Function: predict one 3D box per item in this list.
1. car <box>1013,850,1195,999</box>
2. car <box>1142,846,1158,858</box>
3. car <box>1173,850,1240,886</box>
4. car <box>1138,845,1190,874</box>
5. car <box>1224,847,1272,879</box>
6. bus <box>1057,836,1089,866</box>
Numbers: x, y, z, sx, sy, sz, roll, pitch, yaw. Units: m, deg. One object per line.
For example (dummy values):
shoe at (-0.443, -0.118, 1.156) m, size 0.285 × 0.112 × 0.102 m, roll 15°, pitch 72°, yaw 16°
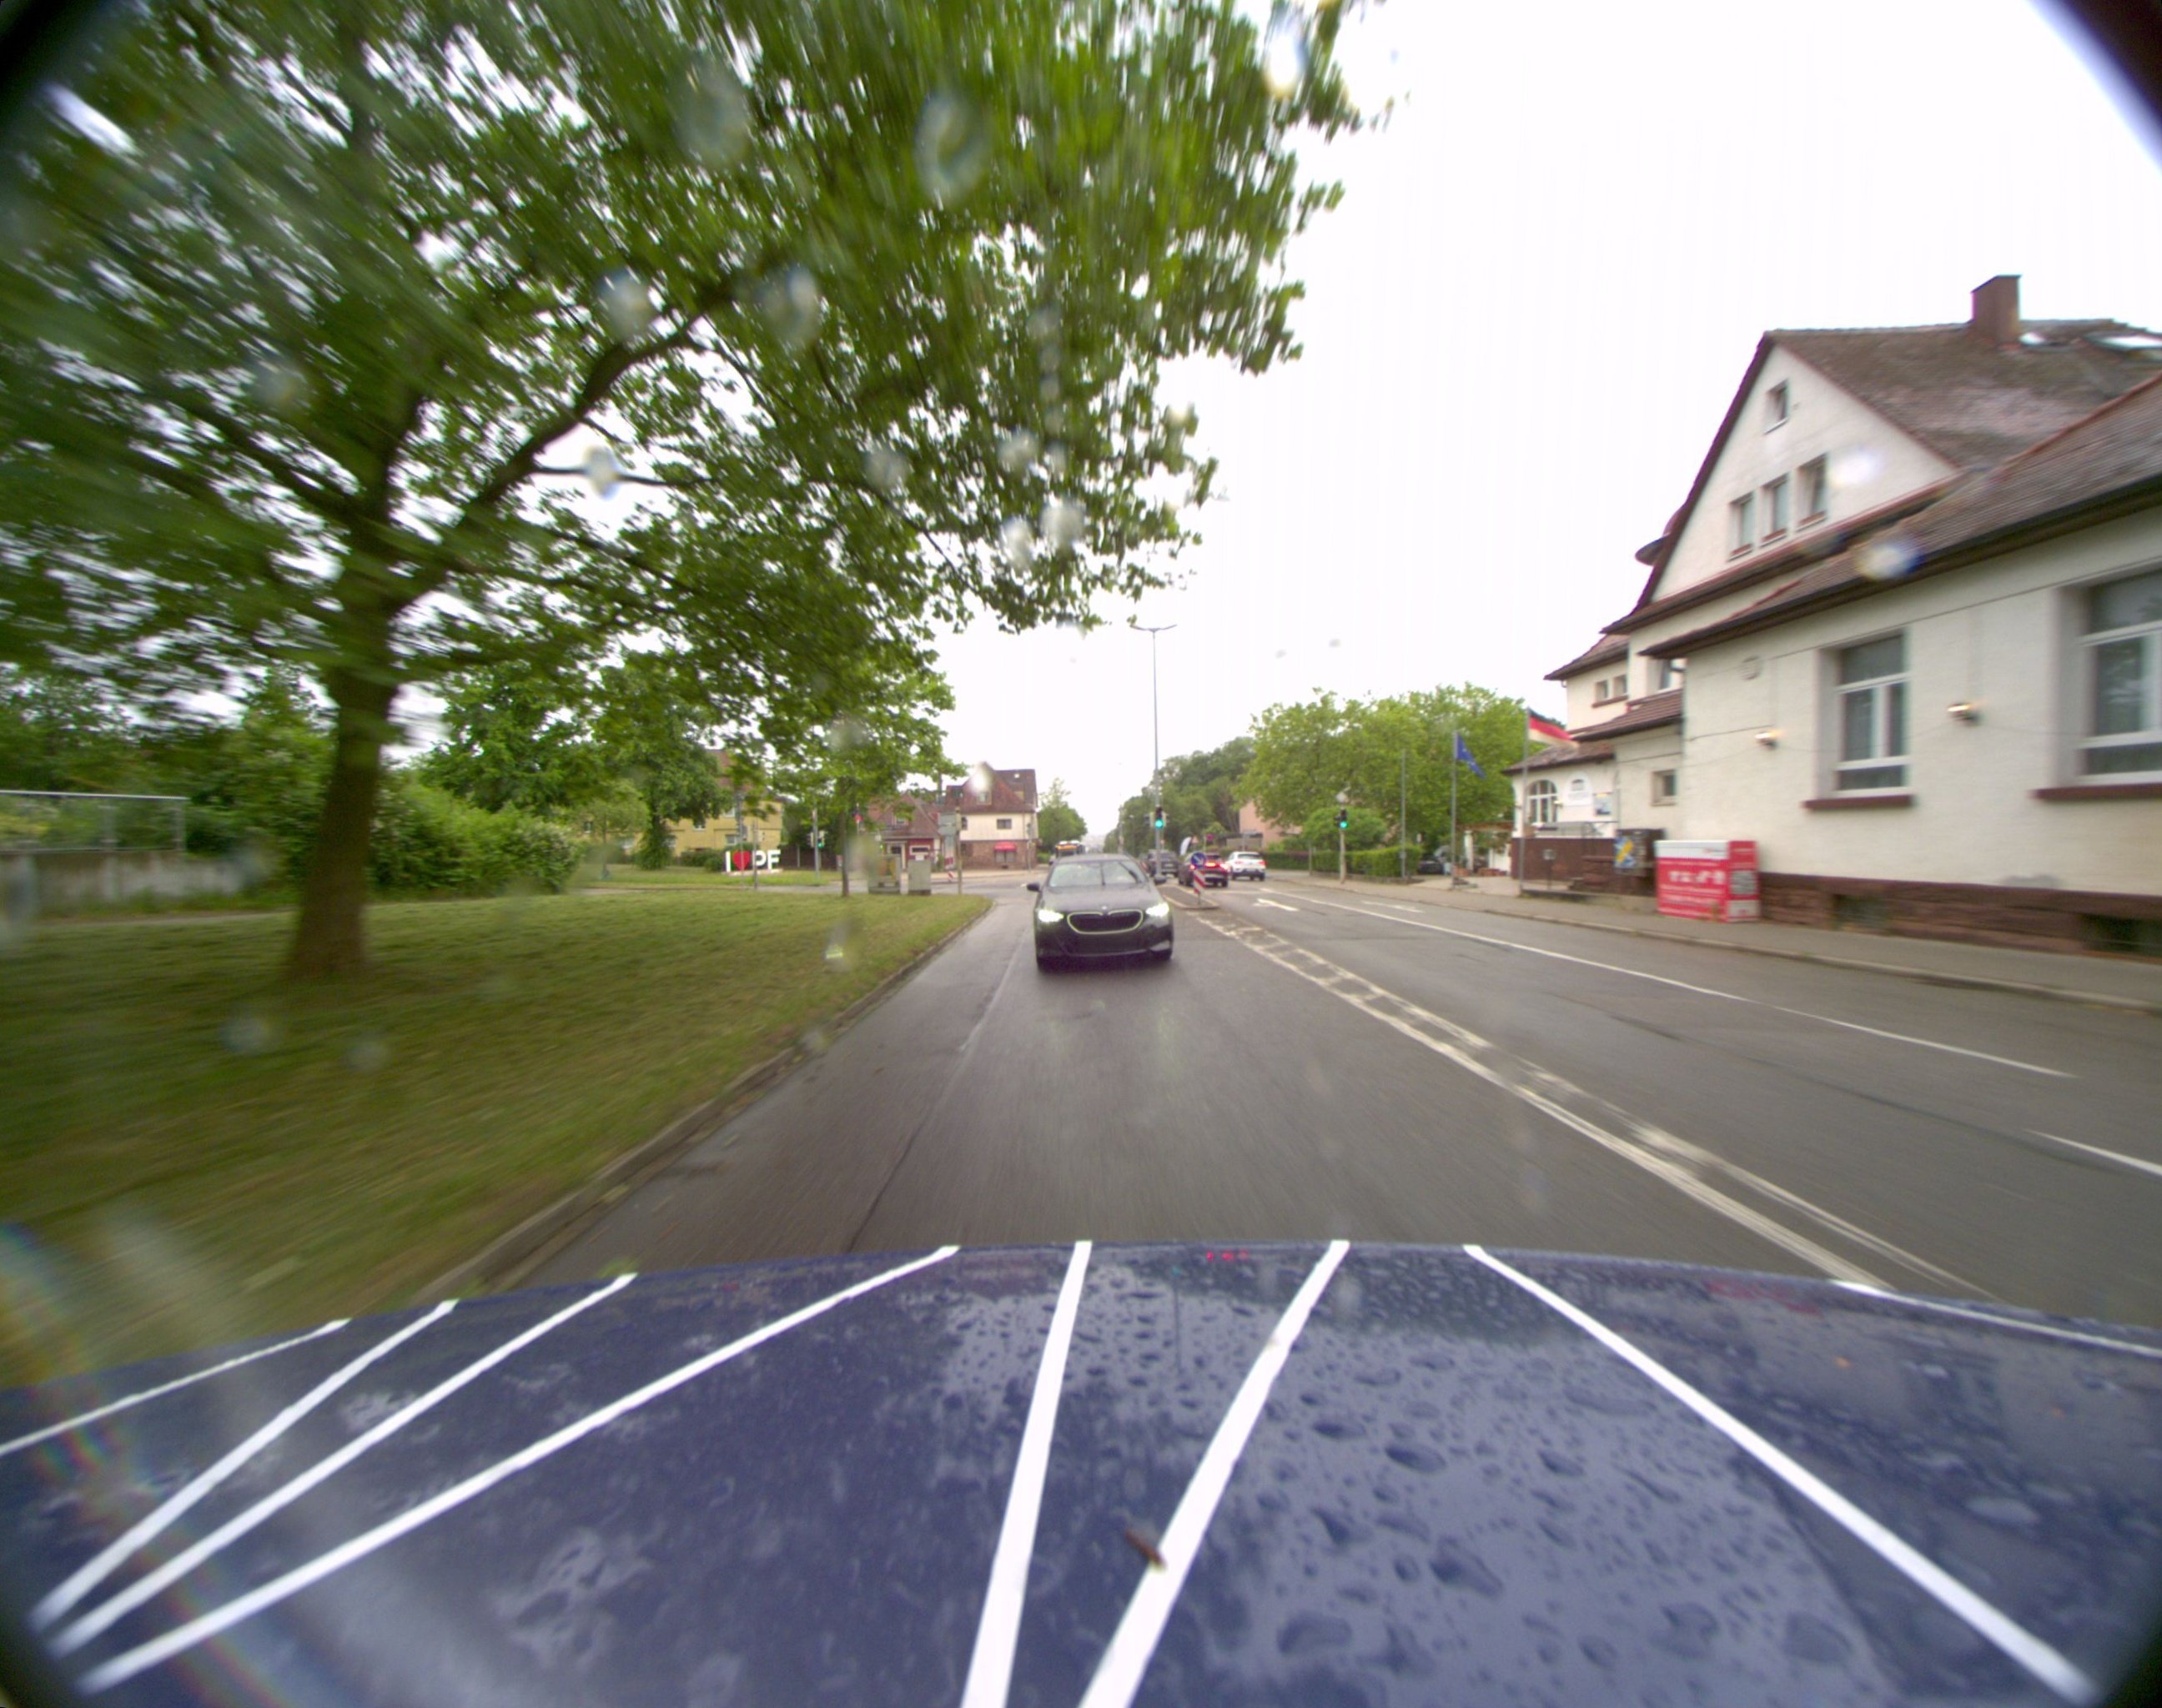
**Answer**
car at (0.191, 0.806, 10.763) m, size 1.999 × 1.586 × 4.146 m, roll -3°, pitch 0°, yaw -2°
car at (10.284, -0.264, 113.294) m, size 1.998 × 1.652 × 4.304 m, roll -1°, pitch 0°, yaw 2°
car at (5.326, 0.554, 32.817) m, size 1.999 × 1.420 × 4.387 m, roll -1°, pitch 0°, yaw -2°
car at (4.960, 0.315, 45.974) m, size 2.000 × 1.652 × 4.299 m, roll -1°, pitch 0°, yaw -10°
car at (9.232, 0.533, 42.337) m, size 1.998 × 1.674 × 4.002 m, roll 1°, pitch -1°, yaw 4°
bus at (-0.779, -0.395, 81.193) m, size 2.897 × 2.770 × 10.385 m, roll -4°, pitch 1°, yaw 1°
